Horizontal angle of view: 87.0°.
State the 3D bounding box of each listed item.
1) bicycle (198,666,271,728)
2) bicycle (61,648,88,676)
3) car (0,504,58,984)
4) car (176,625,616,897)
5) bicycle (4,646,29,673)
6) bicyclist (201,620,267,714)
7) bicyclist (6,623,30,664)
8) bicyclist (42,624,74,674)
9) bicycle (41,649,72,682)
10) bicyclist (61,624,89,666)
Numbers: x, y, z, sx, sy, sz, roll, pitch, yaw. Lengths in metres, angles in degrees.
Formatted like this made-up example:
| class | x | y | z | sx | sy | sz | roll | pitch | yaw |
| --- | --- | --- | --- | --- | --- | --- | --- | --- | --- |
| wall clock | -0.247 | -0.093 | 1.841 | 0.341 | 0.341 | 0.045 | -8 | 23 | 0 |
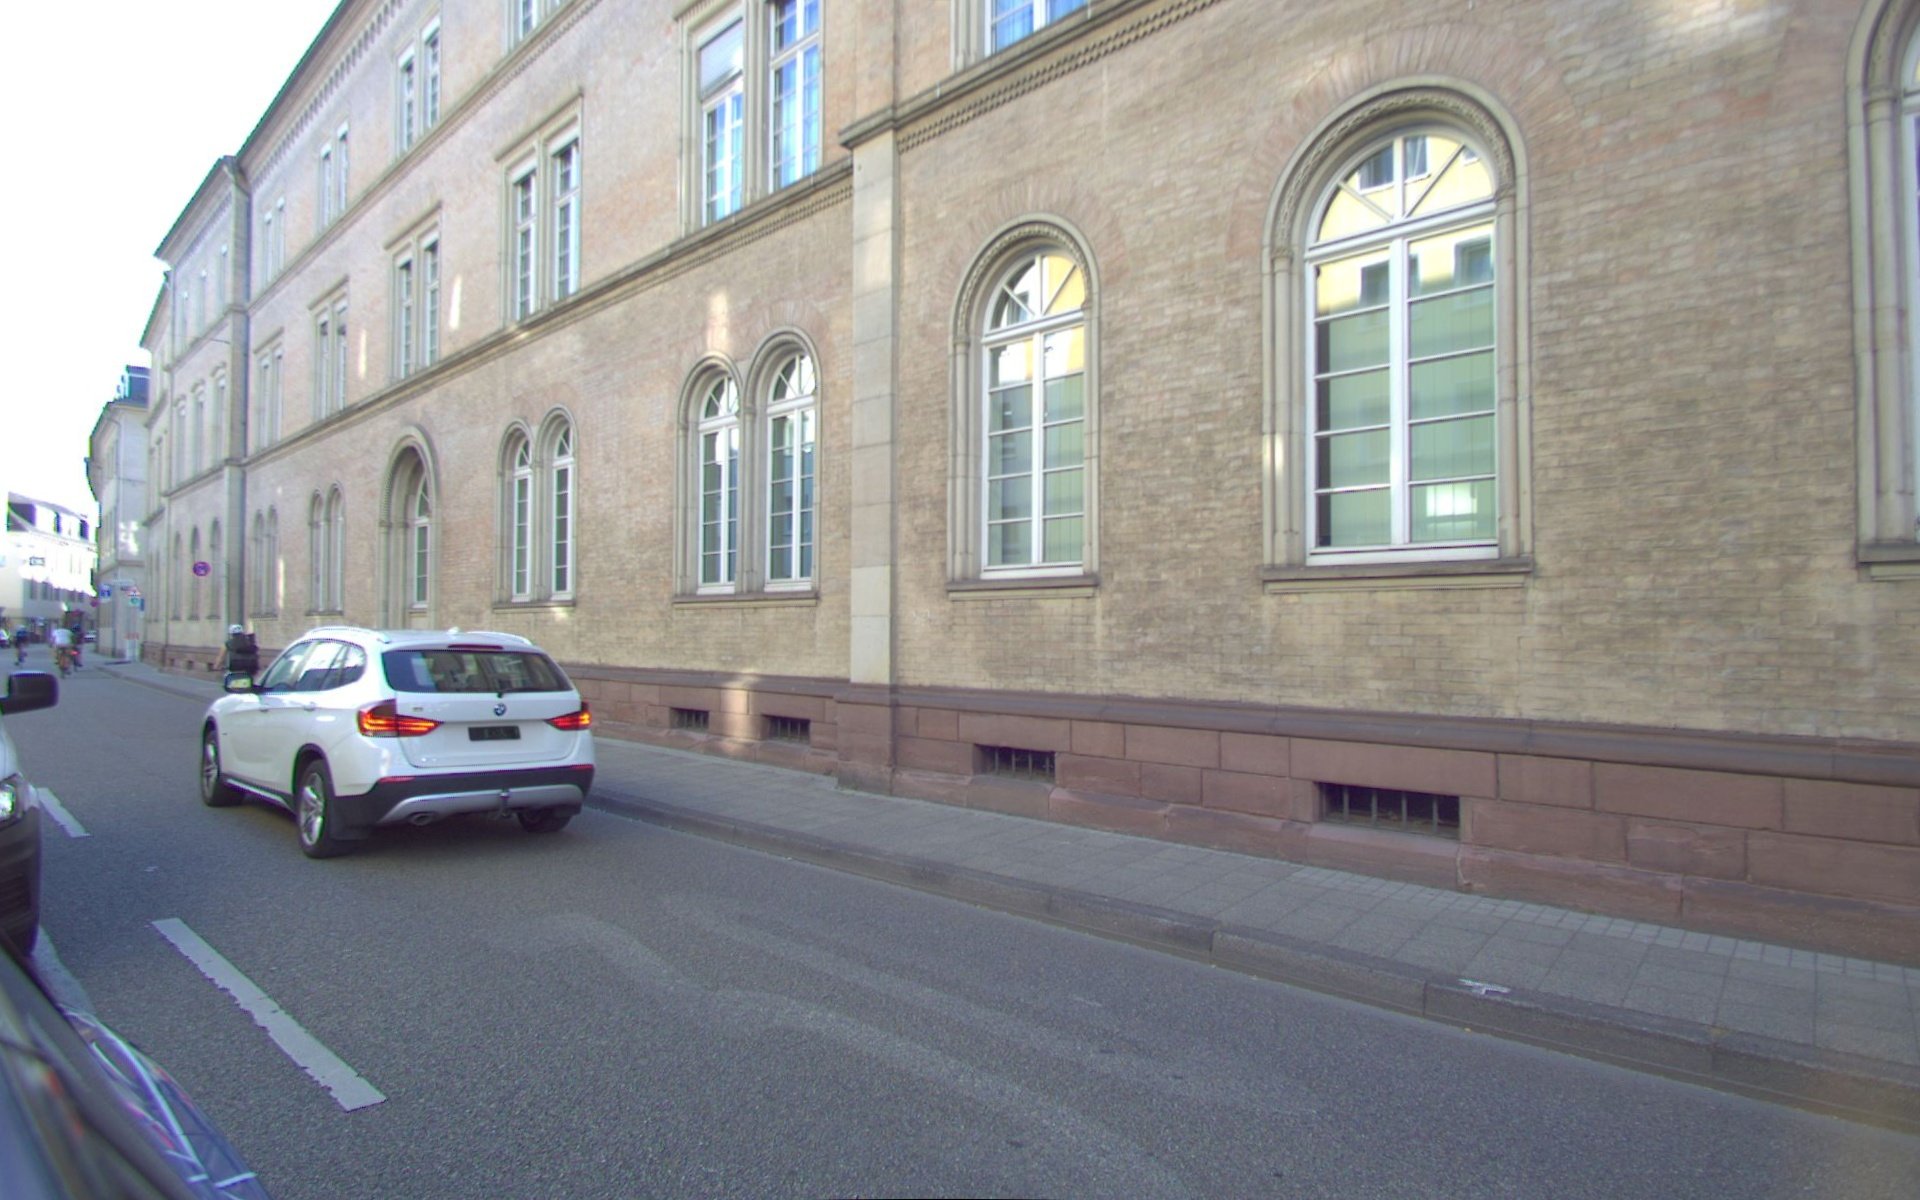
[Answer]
| class | x | y | z | sx | sy | sz | roll | pitch | yaw |
| --- | --- | --- | --- | --- | --- | --- | --- | --- | --- |
| bicycle | -11.971 | 1.576 | 16.673 | 0.677 | 0.931 | 1.768 | 5 | -5 | -44 |
| bicycle | -33.275 | 2.332 | 38.028 | 0.642 | 1.014 | 1.877 | 5 | -5 | -43 |
| car | -6.198 | 0.597 | 5.106 | 5.338 | 1.850 | 1.795 | -2 | -2 | 41 |
| car | -4.641 | 1.046 | 8.042 | 4.273 | 1.595 | 1.667 | -2 | -5 | 41 |
| bicycle | -36.585 | 2.284 | 39.247 | 0.538 | 1.014 | 1.760 | 5 | -5 | -39 |
| bicyclist | -11.961 | 1.097 | 16.678 | 0.677 | 1.487 | 0.872 | 5 | -5 | -44 |
| bicyclist | -36.722 | 1.694 | 39.460 | 0.538 | 1.545 | 0.871 | 5 | -5 | -39 |
| bicyclist | -29.251 | 1.588 | 32.814 | 0.642 | 1.579 | 0.962 | 5 | -5 | -40 |
| bicycle | -29.261 | 2.107 | 32.794 | 0.642 | 1.014 | 1.809 | 5 | -5 | -40 |
| bicyclist | -33.289 | 1.693 | 38.081 | 0.642 | 1.520 | 1.112 | 5 | -5 | -44 |
